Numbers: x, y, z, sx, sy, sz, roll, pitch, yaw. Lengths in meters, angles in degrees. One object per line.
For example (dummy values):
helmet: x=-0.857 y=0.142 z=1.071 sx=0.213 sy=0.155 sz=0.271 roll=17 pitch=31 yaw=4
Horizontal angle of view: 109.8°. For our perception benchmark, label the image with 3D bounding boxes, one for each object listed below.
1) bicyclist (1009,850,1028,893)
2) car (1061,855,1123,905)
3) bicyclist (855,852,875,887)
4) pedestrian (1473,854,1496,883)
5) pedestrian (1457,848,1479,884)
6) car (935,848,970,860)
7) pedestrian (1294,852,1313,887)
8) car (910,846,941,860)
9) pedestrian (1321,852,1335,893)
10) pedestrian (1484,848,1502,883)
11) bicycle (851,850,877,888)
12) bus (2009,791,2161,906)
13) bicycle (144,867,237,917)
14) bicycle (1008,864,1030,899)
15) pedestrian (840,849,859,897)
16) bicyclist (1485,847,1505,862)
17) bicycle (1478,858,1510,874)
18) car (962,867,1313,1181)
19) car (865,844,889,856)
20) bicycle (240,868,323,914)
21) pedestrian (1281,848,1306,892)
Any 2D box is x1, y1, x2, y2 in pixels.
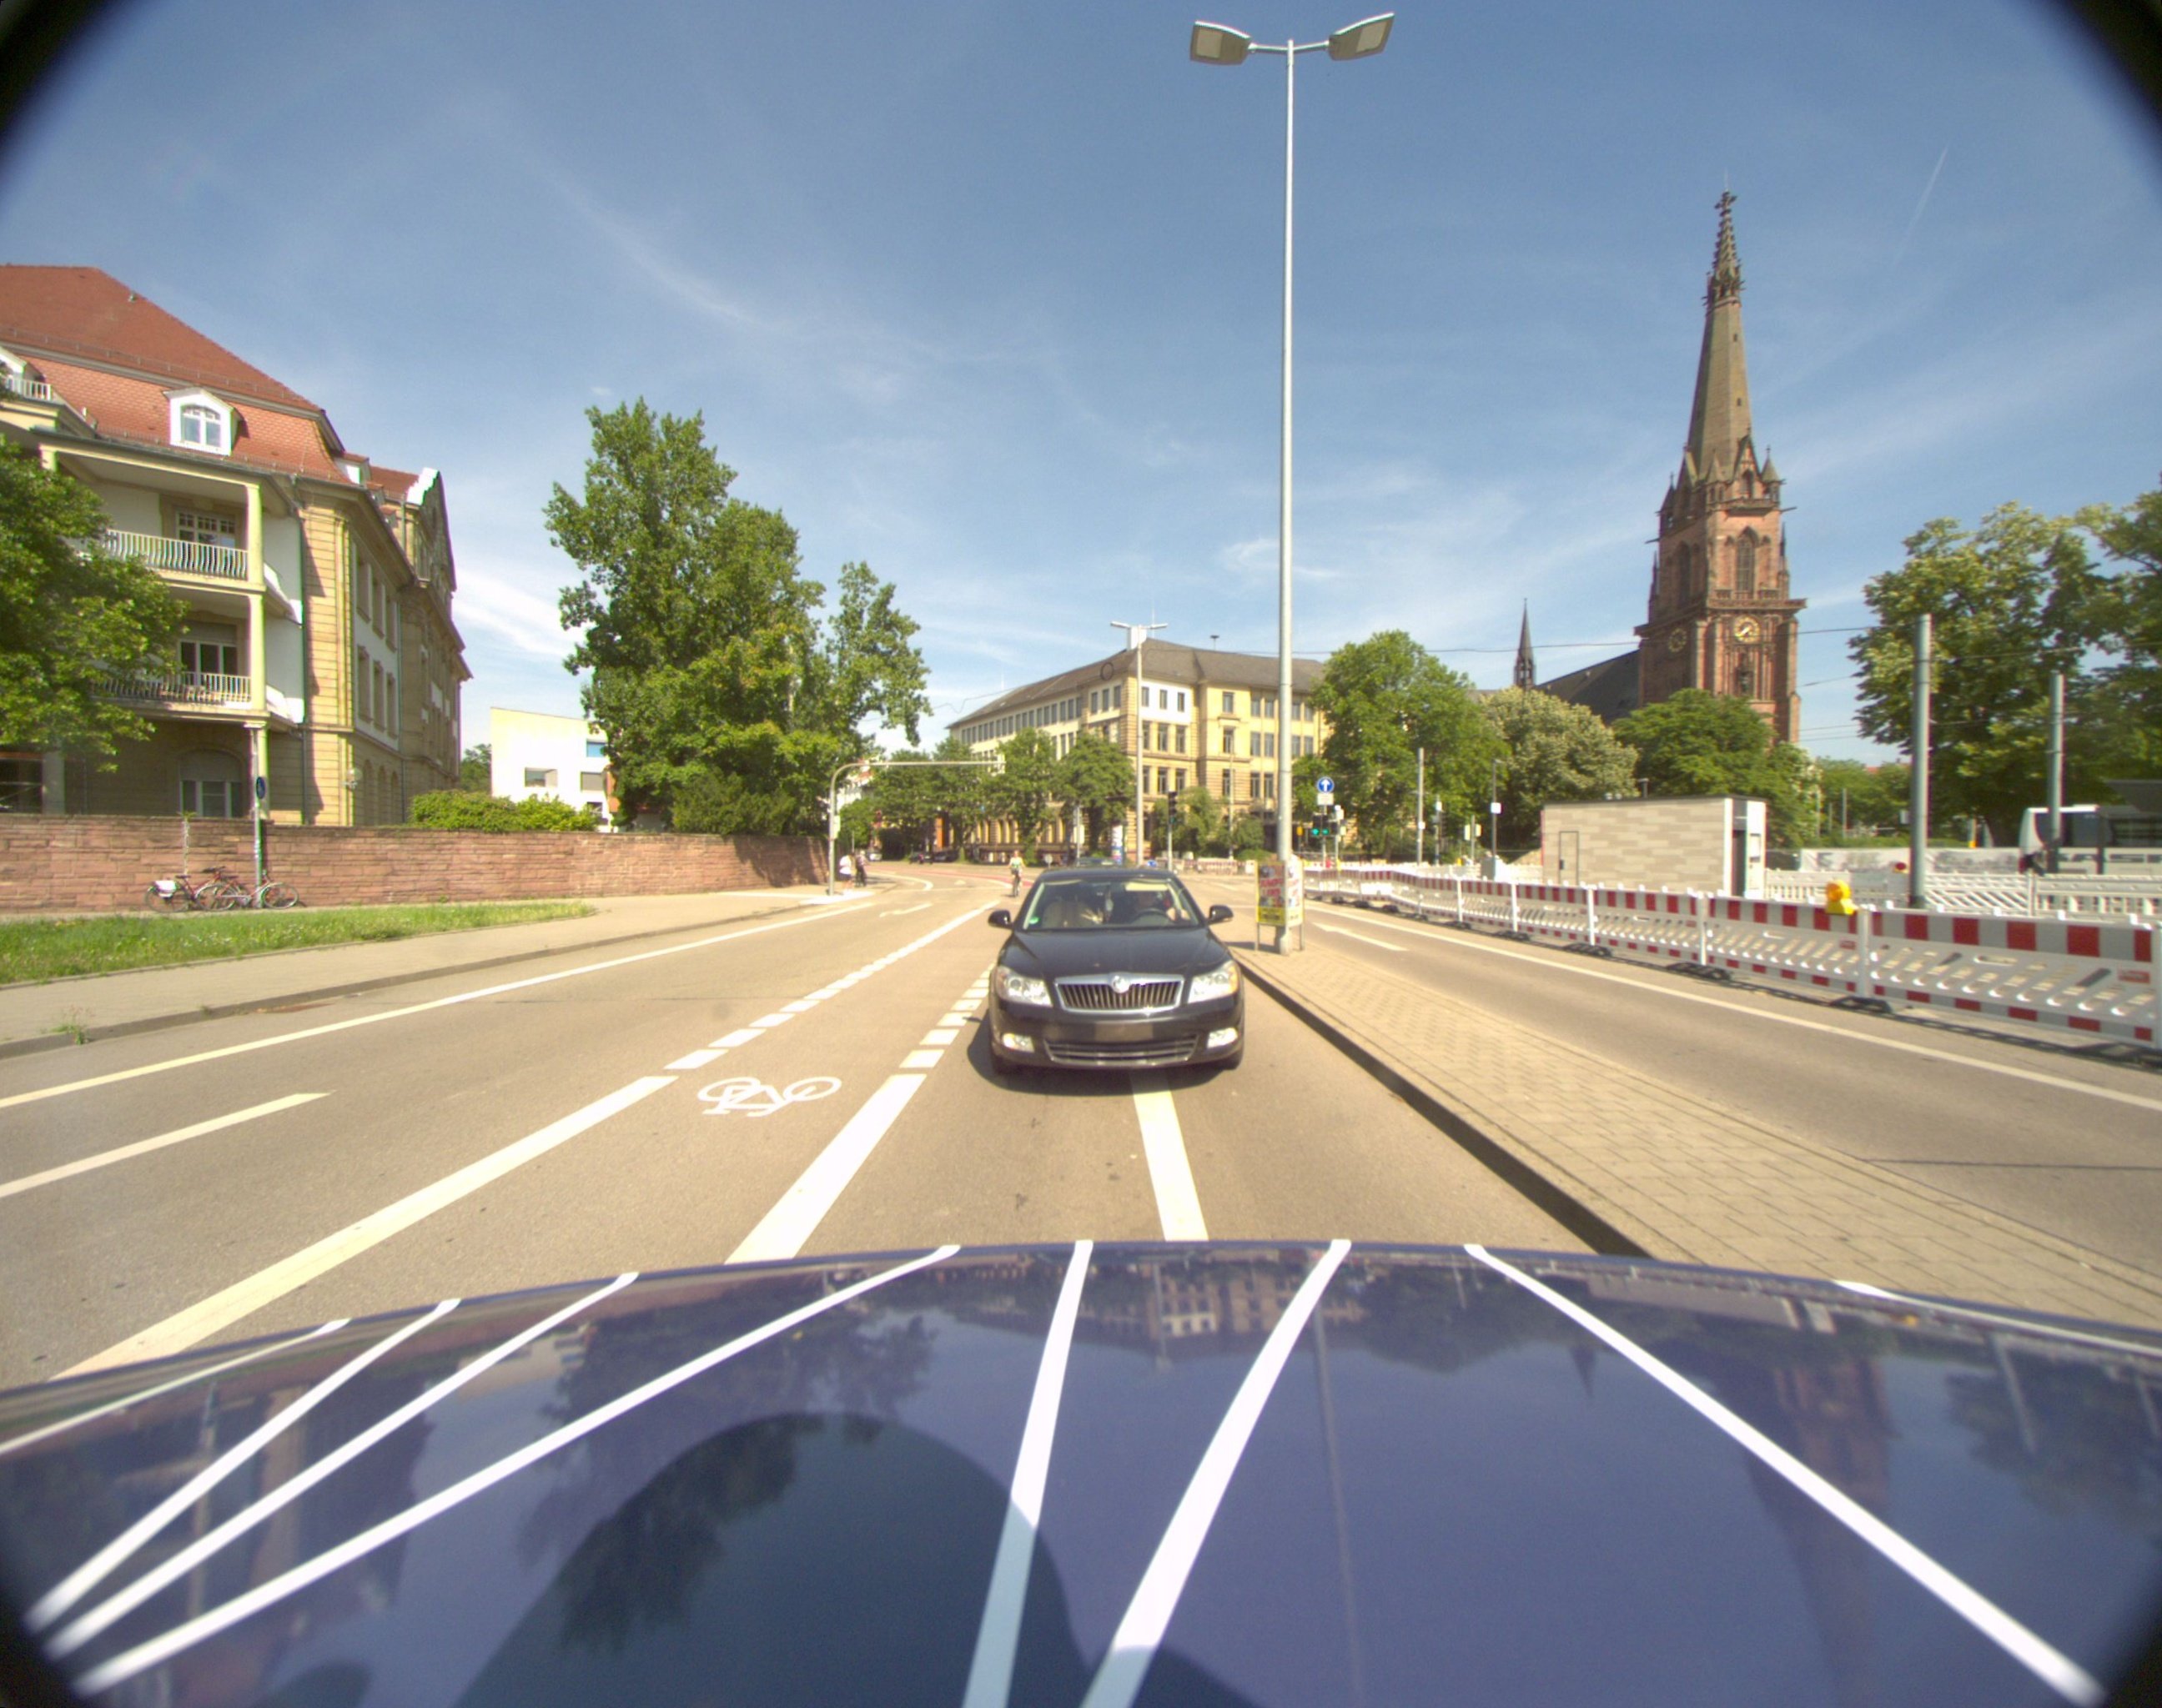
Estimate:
bicyclist: x=-2.361 y=0.631 z=28.449 sx=0.588 sy=1.539 sz=0.930 roll=-2 pitch=2 yaw=-9
car: x=0.306 y=0.776 z=24.721 sx=1.802 sy=1.368 sz=4.275 roll=-1 pitch=1 yaw=-1
bicyclist: x=-10.320 y=0.747 z=36.249 sx=0.680 sy=1.646 sz=0.919 roll=1 pitch=1 yaw=1
pedestrian: x=23.135 y=0.843 z=43.572 sx=0.939 sy=1.646 sz=0.845 roll=0 pitch=1 yaw=9
pedestrian: x=17.784 y=0.552 z=34.934 sx=0.661 sy=1.606 sz=0.794 roll=0 pitch=1 yaw=9
car: x=-16.870 y=0.001 z=99.713 sx=4.008 sy=1.455 sz=1.994 roll=0 pitch=1 yaw=-35
pedestrian: x=9.962 y=0.677 z=34.030 sx=0.666 sy=1.534 sz=0.424 roll=-3 pitch=1 yaw=26
car: x=-17.723 y=-0.104 z=86.526 sx=1.675 sy=1.442 sz=3.806 roll=1 pitch=1 yaw=-42
pedestrian: x=9.713 y=0.721 z=29.915 sx=0.350 sy=1.606 sz=0.686 roll=0 pitch=1 yaw=2
pedestrian: x=19.028 y=0.534 z=35.112 sx=0.584 sy=1.606 sz=0.691 roll=0 pitch=1 yaw=43
bicycle: x=-10.319 y=0.688 z=36.157 sx=0.680 sy=1.755 sz=1.811 roll=1 pitch=1 yaw=1
bus: x=35.692 y=-0.125 z=20.887 sx=2.867 sy=3.469 sz=12.624 roll=0 pitch=1 yaw=-34
bicycle: x=-21.467 y=0.897 z=18.350 sx=0.348 sy=1.116 sz=1.437 roll=1 pitch=1 yaw=15
bicycle: x=-2.339 y=1.009 z=28.440 sx=0.686 sy=1.215 sz=2.184 roll=0 pitch=1 yaw=-9
pedestrian: x=-9.163 y=0.757 z=30.088 sx=0.654 sy=1.863 sz=0.795 roll=2 pitch=1 yaw=-18
bicyclist: x=26.048 y=0.041 z=47.825 sx=0.684 sy=0.922 sz=0.867 roll=-1 pitch=1 yaw=-38
bicycle: x=26.024 y=0.728 z=47.881 sx=0.703 sy=0.941 sz=1.661 roll=-1 pitch=1 yaw=-39
car: x=0.327 y=0.956 z=6.476 sx=1.864 sy=1.510 sz=4.826 roll=0 pitch=1 yaw=1
car: x=-27.143 y=-0.540 z=101.137 sx=1.803 sy=1.404 sz=3.989 roll=1 pitch=1 yaw=-35
bicycle: x=-20.542 y=0.924 z=19.553 sx=0.348 sy=1.116 sz=1.438 roll=1 pitch=1 yaw=35
pedestrian: x=8.910 y=0.666 z=31.852 sx=0.839 sy=1.802 sz=0.651 roll=0 pitch=1 yaw=31
